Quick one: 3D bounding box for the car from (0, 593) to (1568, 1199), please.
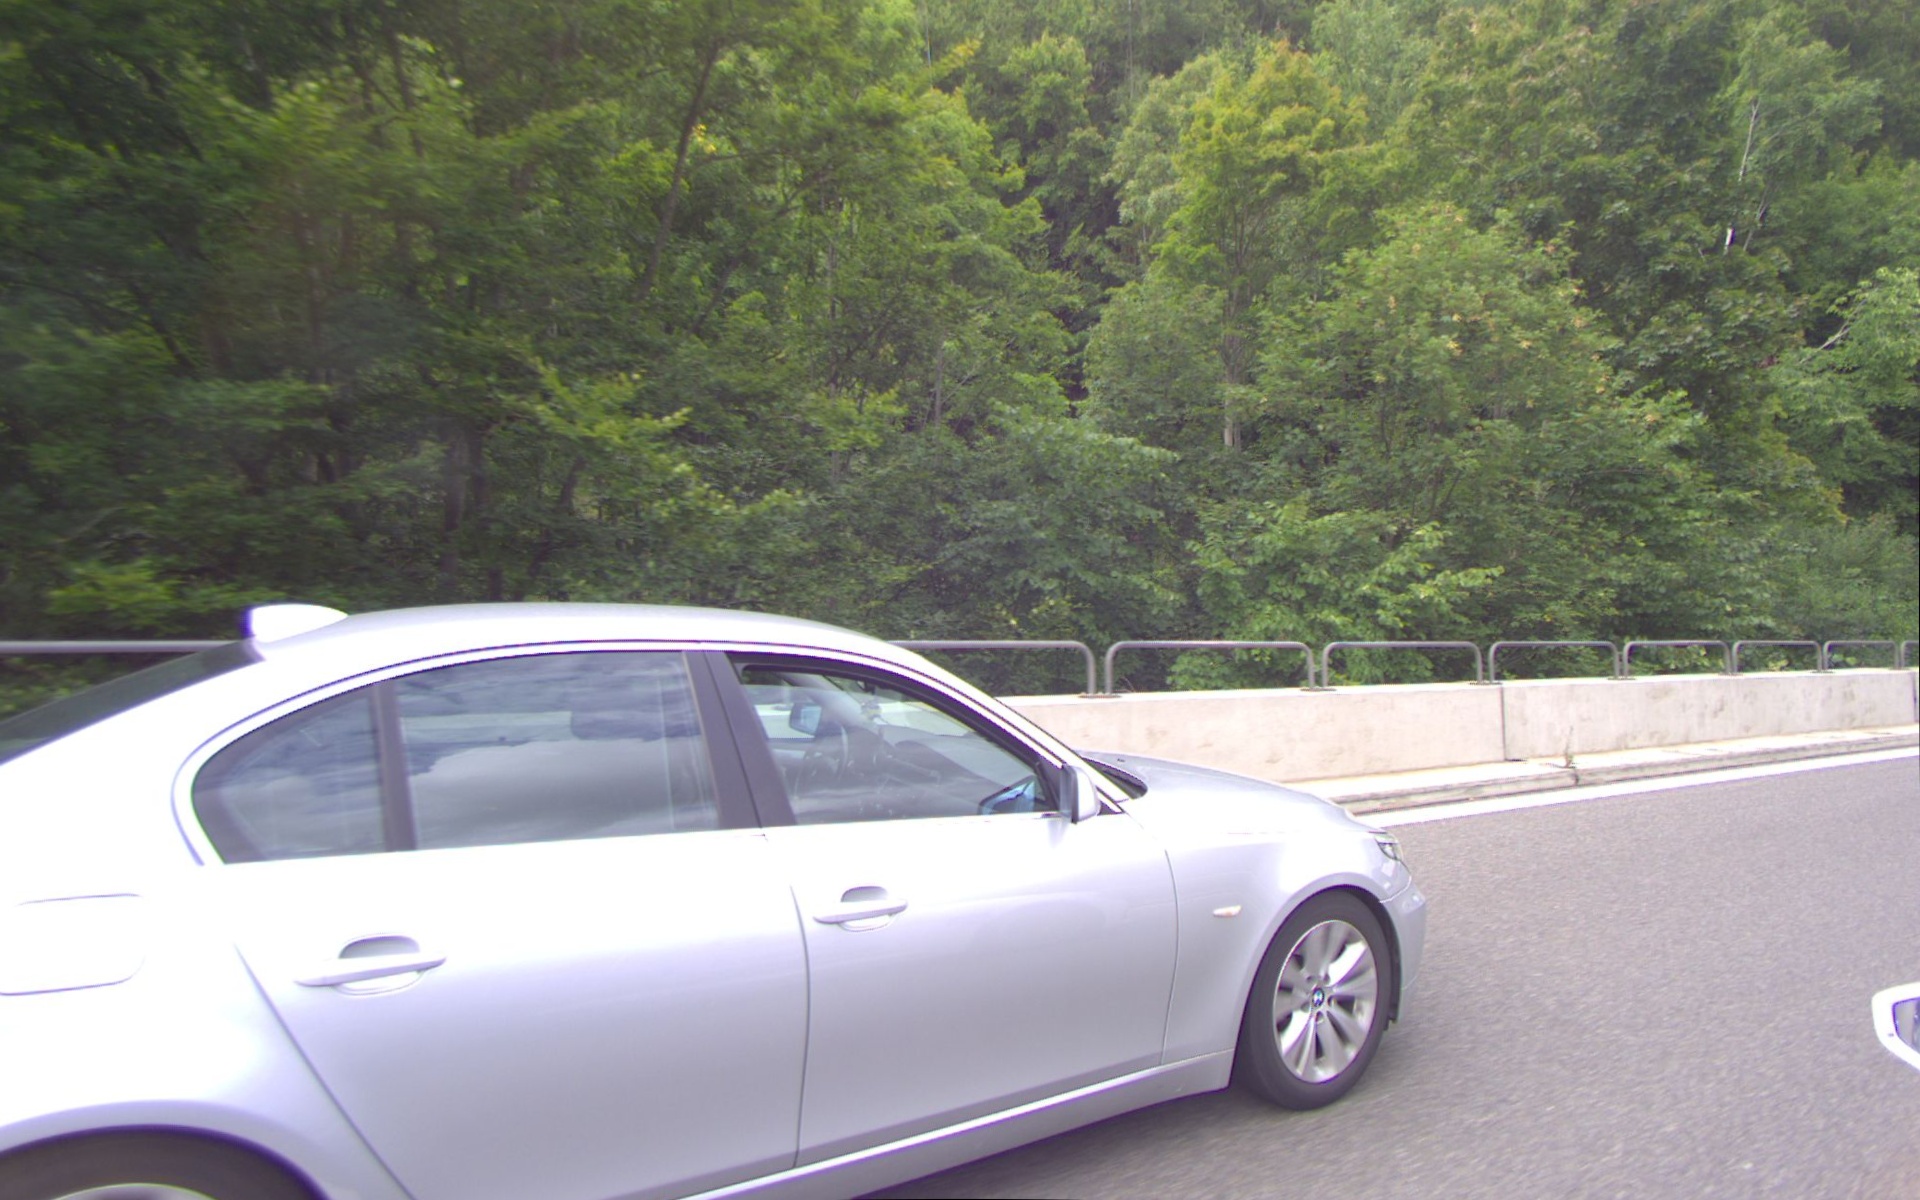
[{"bbox_3d":[-0.542,0.770,2.960,5.075,1.476,1.819,2,-1,-31],"label":"car"}]
